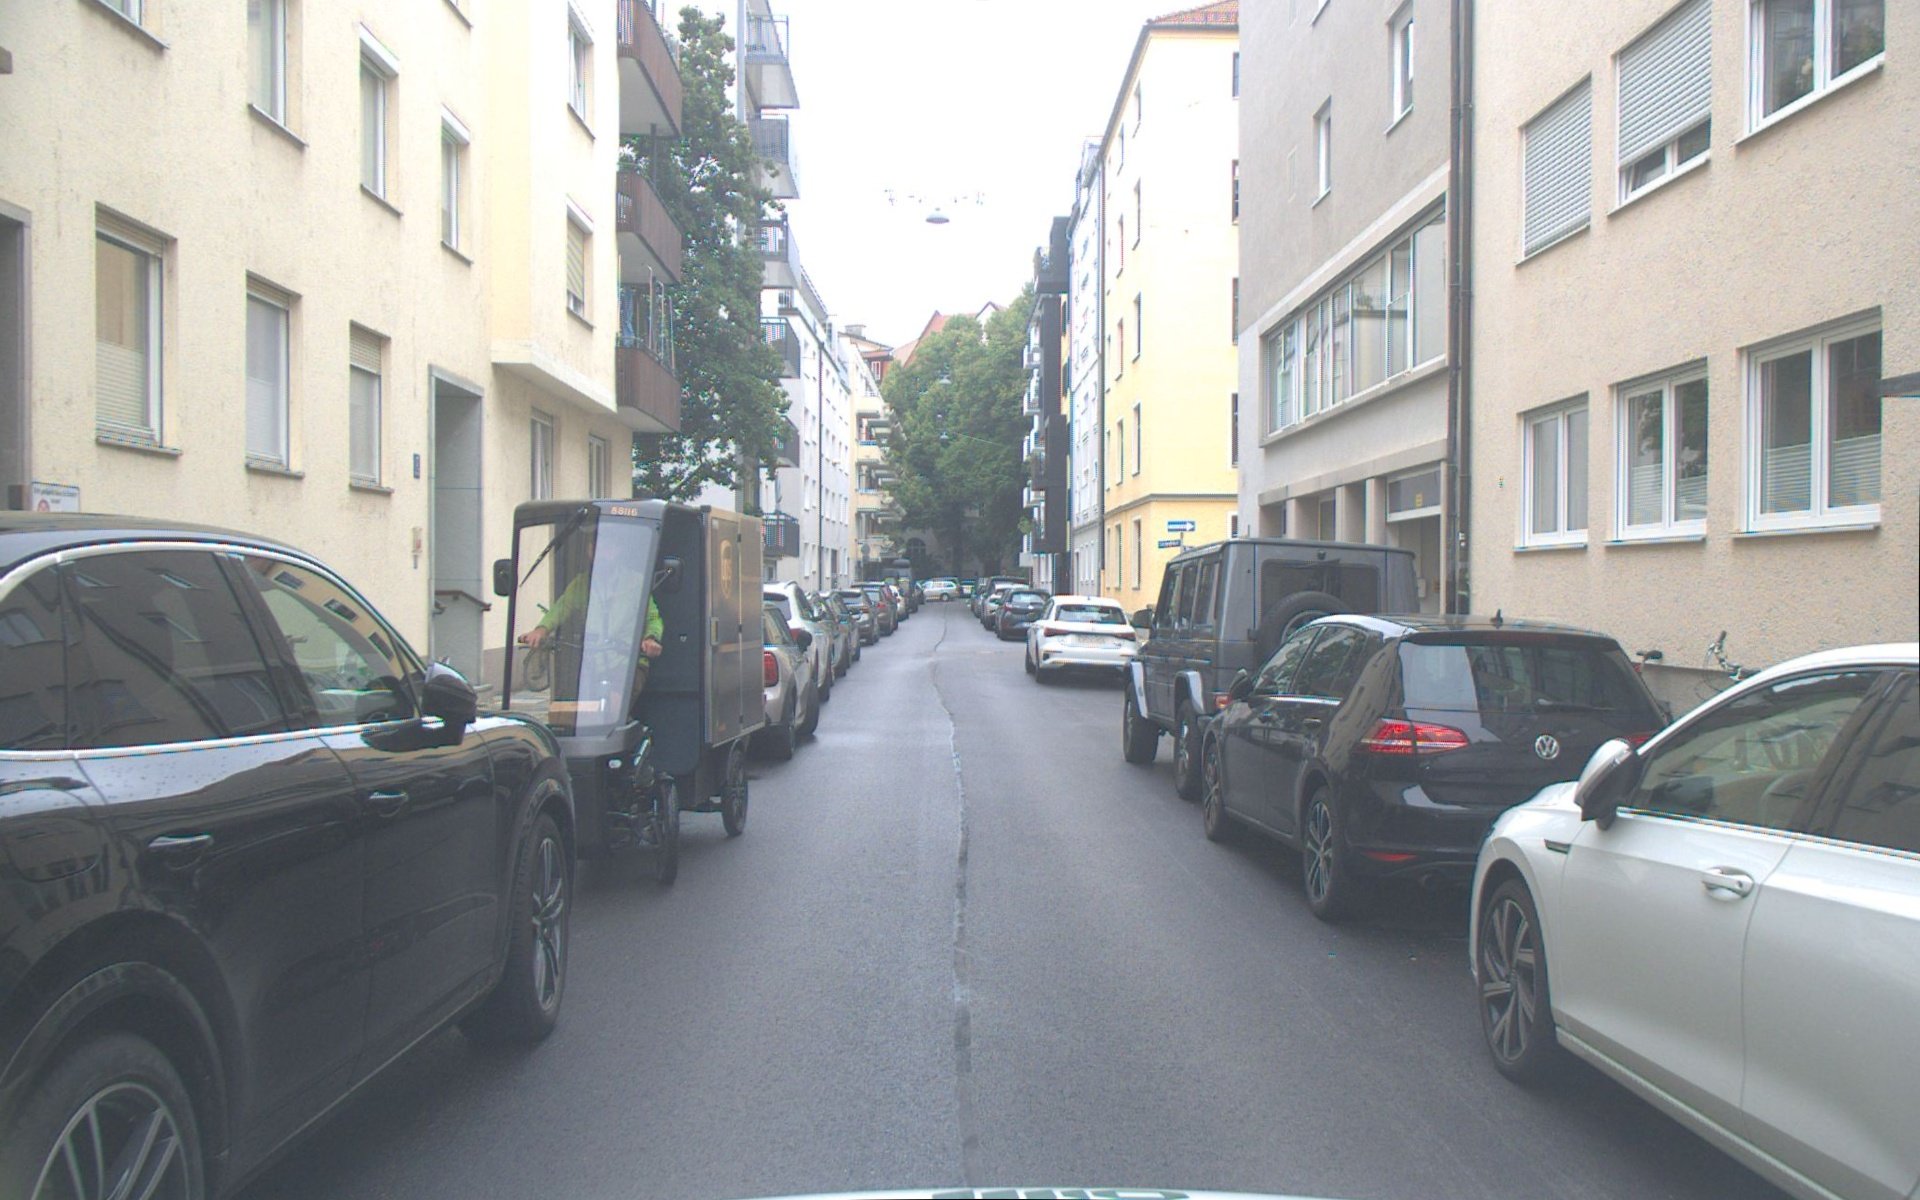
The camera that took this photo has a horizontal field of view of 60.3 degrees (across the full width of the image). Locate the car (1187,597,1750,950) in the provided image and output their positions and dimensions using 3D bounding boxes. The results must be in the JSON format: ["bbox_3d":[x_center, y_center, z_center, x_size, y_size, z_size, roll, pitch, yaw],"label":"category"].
[{"bbox_3d":[2.520,0.766,9.338,1.677,1.512,4.241,1,0,-3],"label":"car"}]

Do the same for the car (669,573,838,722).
[{"bbox_3d":[-2.557,0.550,21.412,1.730,1.704,4.366,-1,0,-2],"label":"car"}]

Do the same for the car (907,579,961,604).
[{"bbox_3d":[-1.880,-0.583,119.157,3.808,1.612,1.647,-3,0,-2],"label":"car"}]

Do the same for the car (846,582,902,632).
[{"bbox_3d":[-2.961,0.206,57.626,1.741,1.657,4.414,-1,1,-1],"label":"car"}]

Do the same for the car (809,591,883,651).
[{"bbox_3d":[-2.964,0.526,43.761,1.658,1.467,3.942,-1,1,0],"label":"car"}]

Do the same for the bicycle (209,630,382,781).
[{"bbox_3d":[-5.257,0.803,13.204,0.715,1.045,1.812,1,1,-3],"label":"bicycle"}]

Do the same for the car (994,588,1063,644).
[{"bbox_3d":[1.988,0.441,49.086,1.715,1.495,4.342,3,1,-1],"label":"car"}]

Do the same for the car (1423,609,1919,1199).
[{"bbox_3d":[2.659,0.807,4.018,1.677,1.512,4.241,1,0,-3],"label":"car"}]

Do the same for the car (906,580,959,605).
[{"bbox_3d":[-2.022,-0.573,121.263,3.808,1.612,1.647,-3,0,-2],"label":"car"}]

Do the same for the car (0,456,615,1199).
[{"bbox_3d":[-2.233,0.650,3.924,1.840,1.689,4.415,-1,0,1],"label":"car"}]

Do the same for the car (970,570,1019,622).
[{"bbox_3d":[1.373,-0.176,66.708,1.792,1.943,4.415,2,1,-1],"label":"car"}]

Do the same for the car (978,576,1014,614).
[{"bbox_3d":[2.011,-0.297,93.512,1.792,2.034,4.415,3,0,-1],"label":"car"}]

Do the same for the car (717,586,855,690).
[{"bbox_3d":[-2.759,0.558,27.076,1.729,1.509,4.424,-1,1,0],"label":"car"}]

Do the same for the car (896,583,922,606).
[{"bbox_3d":[-3.381,-0.374,109.124,1.609,1.407,3.482,-3,1,-1],"label":"car"}]

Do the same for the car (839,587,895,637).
[{"bbox_3d":[-2.876,0.338,51.730,1.659,1.467,3.976,-1,1,-2],"label":"car"}]

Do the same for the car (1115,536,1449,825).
[{"bbox_3d":[2.519,0.552,14.041,1.716,2.009,4.341,2,1,-3],"label":"car"}]

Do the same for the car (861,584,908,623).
[{"bbox_3d":[-3.176,0.136,70.524,1.740,1.513,4.519,-3,1,0],"label":"car"}]

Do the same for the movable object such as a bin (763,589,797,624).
[{"bbox_3d":[-7.272,0.239,66.858,1.142,1.360,1.025,-2,0,2],"label":"movable object such as a bin"}]

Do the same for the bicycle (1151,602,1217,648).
[{"bbox_3d":[5.893,0.666,43.547,1.678,1.159,0.374,-1,2,-2],"label":"bicycle"}]

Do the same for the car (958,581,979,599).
[{"bbox_3d":[0.716,-0.849,136.208,1.609,1.407,3.745,-3,1,-1],"label":"car"}]

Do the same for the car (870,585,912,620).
[{"bbox_3d":[-3.148,0.114,75.867,1.741,1.478,4.045,-3,1,-1],"label":"car"}]

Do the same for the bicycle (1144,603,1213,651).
[{"bbox_3d":[5.818,0.711,44.067,1.772,1.194,0.505,-1,2,-3],"label":"bicycle"}]

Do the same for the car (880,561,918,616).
[{"bbox_3d":[-3.322,-0.653,90.519,1.897,2.850,4.532,-2,1,-1],"label":"car"}]

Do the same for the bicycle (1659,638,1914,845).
[{"bbox_3d":[5.196,0.846,10.531,0.641,1.125,1.760,-3,0,-1],"label":"bicycle"}]

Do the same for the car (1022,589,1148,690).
[{"bbox_3d":[2.123,0.634,29.034,1.782,1.432,3.952,1,3,-2],"label":"car"}]

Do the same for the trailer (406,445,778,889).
[{"bbox_3d":[-1.982,0.332,9.746,1.327,2.153,3.318,1,0,2],"label":"trailer"}]

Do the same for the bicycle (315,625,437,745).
[{"bbox_3d":[-5.467,0.765,15.587,0.503,1.016,1.859,3,0,-2],"label":"bicycle"}]

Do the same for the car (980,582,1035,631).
[{"bbox_3d":[1.653,0.189,59.089,1.648,1.595,4.414,3,1,-2],"label":"car"}]

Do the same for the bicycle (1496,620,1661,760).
[{"bbox_3d":[5.193,0.721,14.011,0.631,1.046,1.796,-3,0,-1],"label":"bicycle"}]

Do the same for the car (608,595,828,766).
[{"bbox_3d":[-2.253,0.697,16.259,1.618,1.461,3.802,-1,0,-1],"label":"car"}]
